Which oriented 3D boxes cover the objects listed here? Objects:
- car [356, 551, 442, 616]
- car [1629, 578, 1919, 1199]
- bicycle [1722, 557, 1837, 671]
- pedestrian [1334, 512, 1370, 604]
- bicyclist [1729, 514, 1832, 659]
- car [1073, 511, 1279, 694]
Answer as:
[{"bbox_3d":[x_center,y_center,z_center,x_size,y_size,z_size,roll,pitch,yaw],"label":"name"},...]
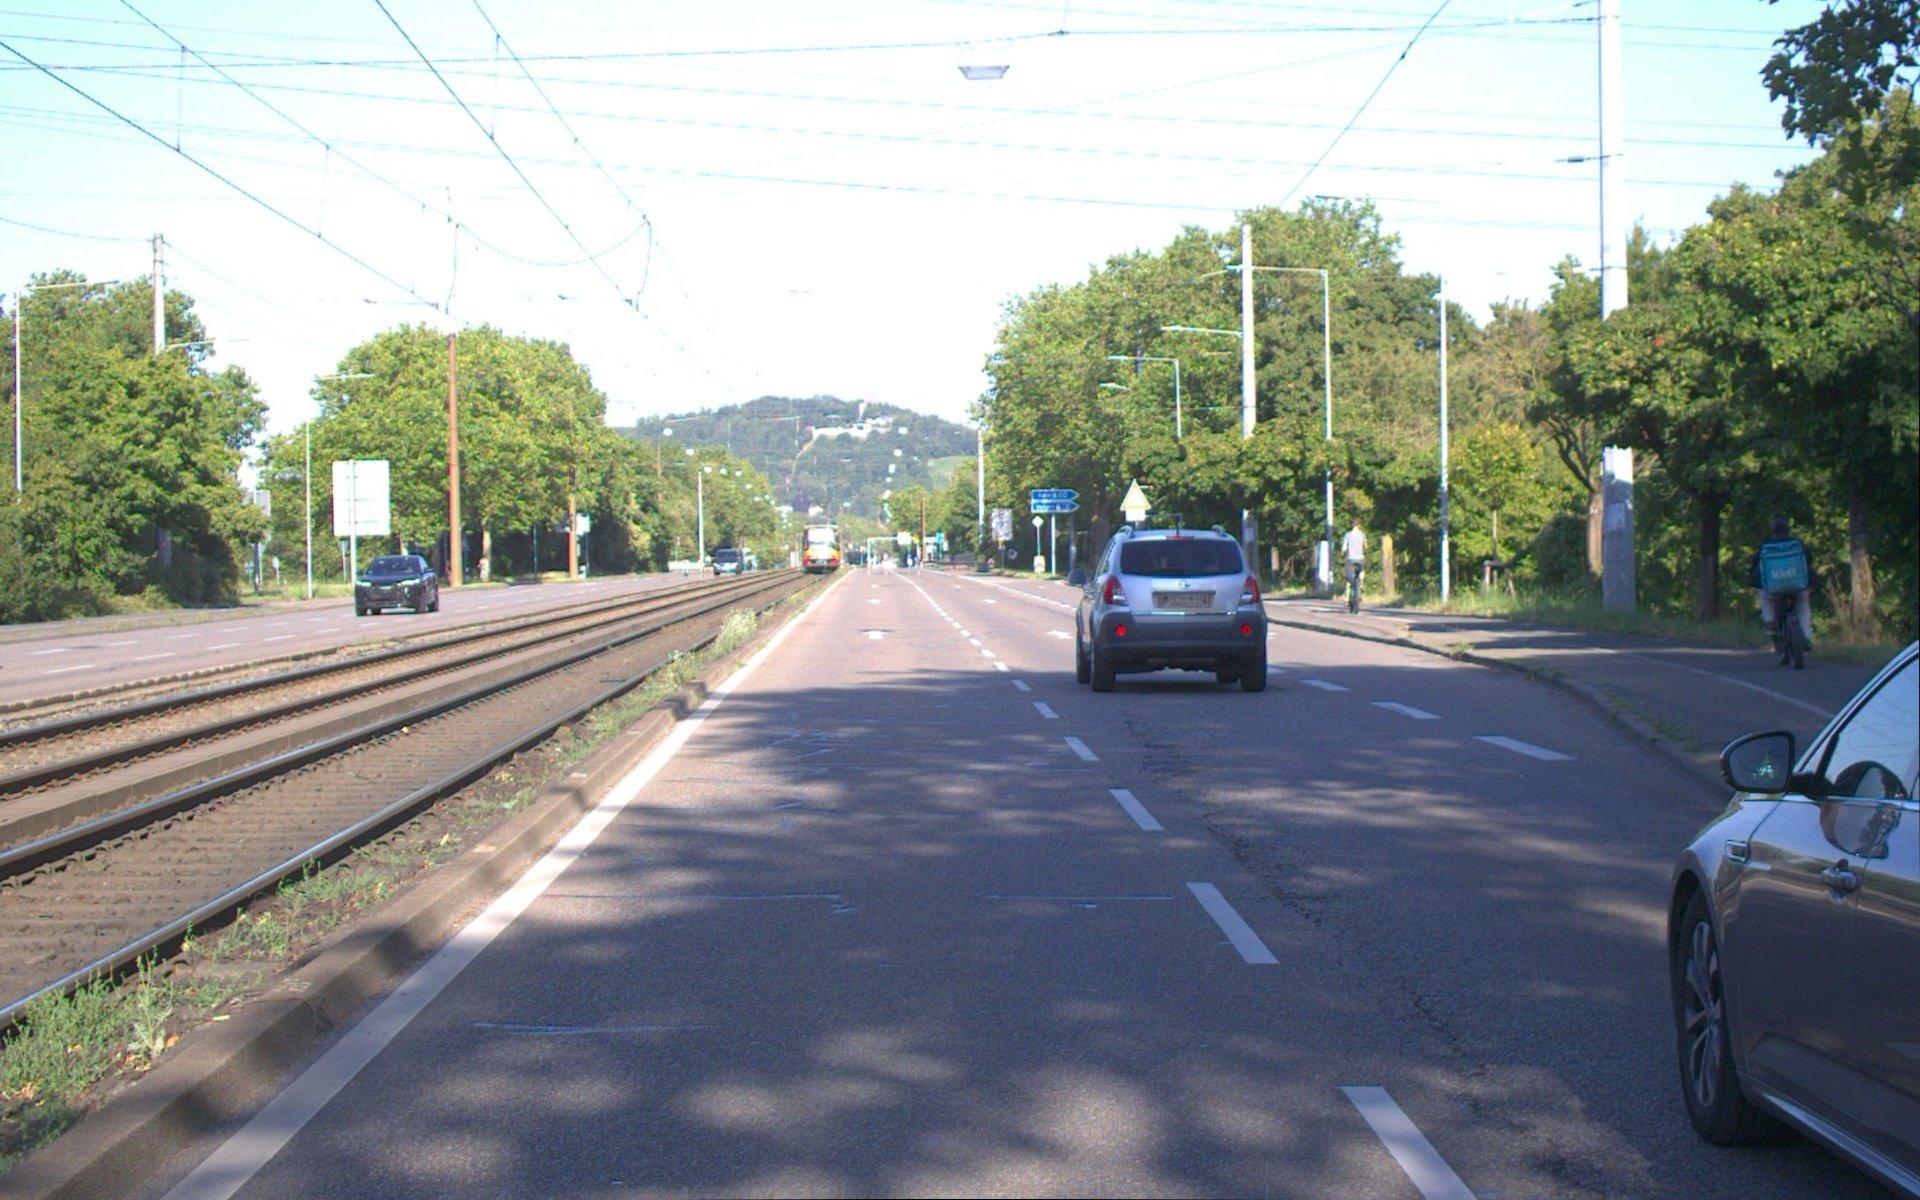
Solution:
[{"bbox_3d":[-15.669,-0.481,96.205,1.905,1.638,4.001,1,2,-3],"label":"car"},{"bbox_3d":[2.771,0.698,7.163,1.866,1.462,4.666,-1,1,0],"label":"car"},{"bbox_3d":[8.626,0.135,36.237,0.795,1.090,1.894,-3,2,3],"label":"bicycle"},{"bbox_3d":[8.078,-0.872,70.866,0.626,1.865,0.624,1,2,-1],"label":"pedestrian"},{"bbox_3d":[8.606,-0.154,36.105,0.795,1.455,1.112,-3,2,3],"label":"bicyclist"},{"bbox_3d":[2.272,-0.024,37.109,1.883,1.789,4.001,1,2,-1],"label":"car"}]
